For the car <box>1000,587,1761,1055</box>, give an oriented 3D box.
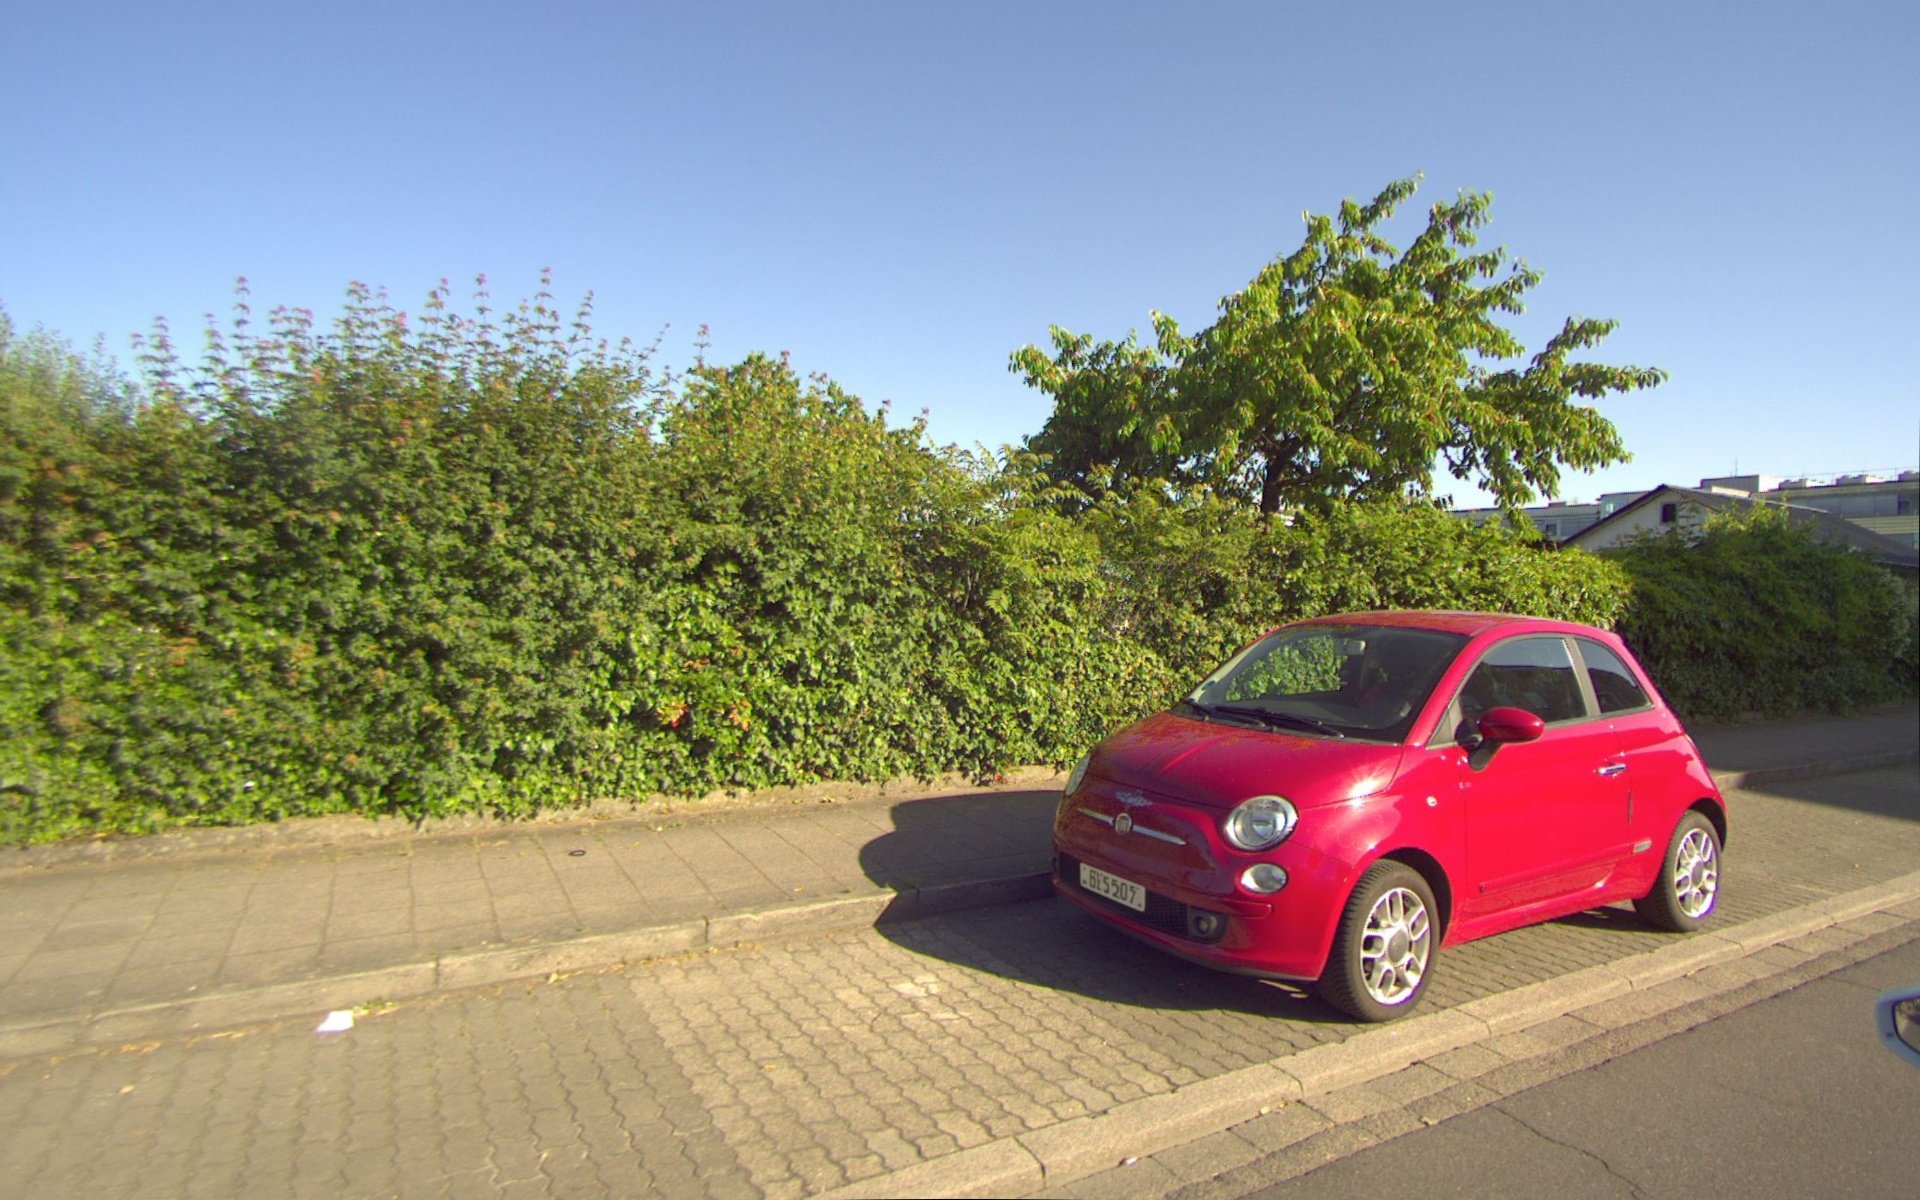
[{"bbox_3d":[2.099,0.746,4.820,3.529,1.515,1.552,2,0,-30],"label":"car"}]
